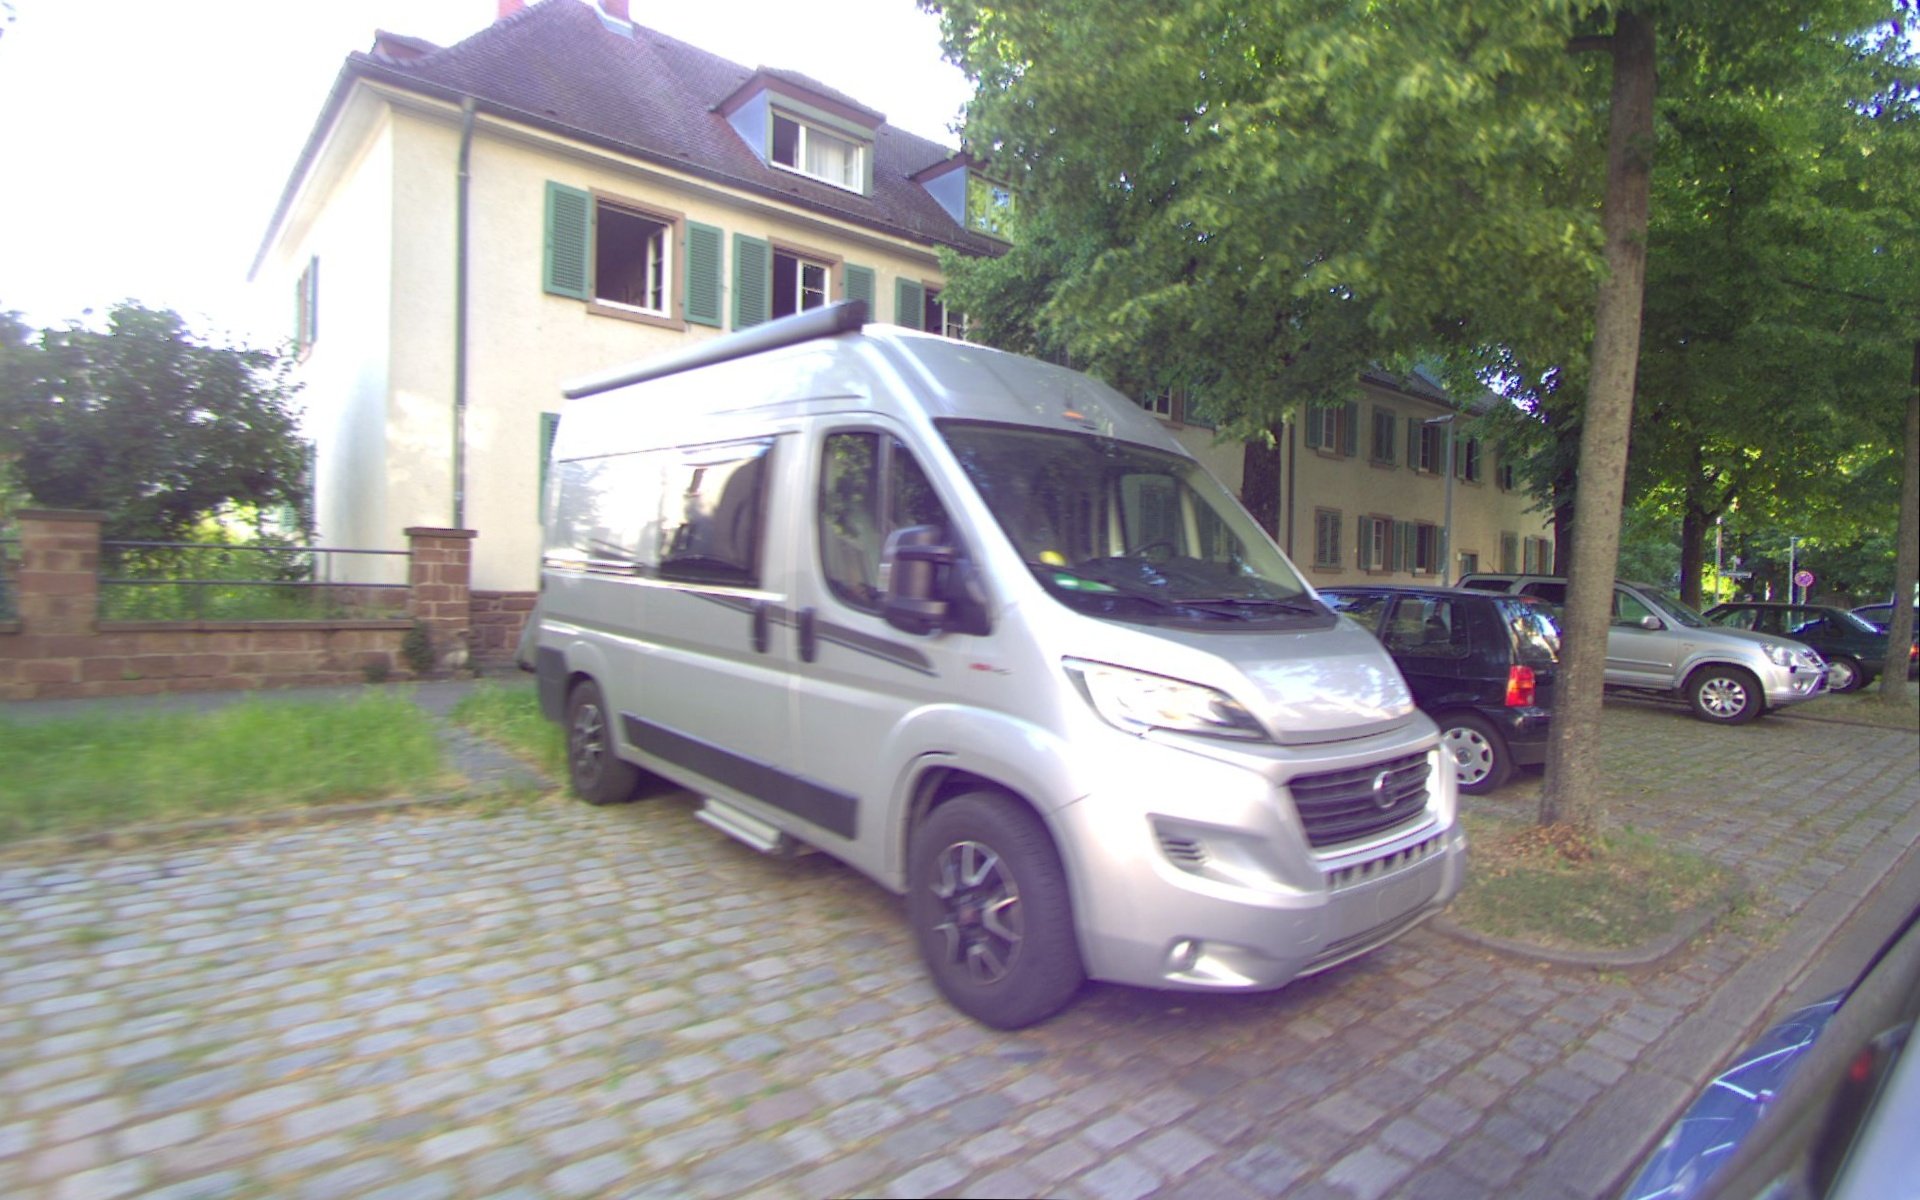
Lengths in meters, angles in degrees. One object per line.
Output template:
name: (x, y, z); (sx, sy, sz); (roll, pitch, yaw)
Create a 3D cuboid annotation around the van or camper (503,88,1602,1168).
van or camper: (-0.355, -0.139, 5.257); (2.124, 2.546, 5.734); (1, 4, -40)

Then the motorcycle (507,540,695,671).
motorcycle: (-4.186, 0.049, 11.901); (1.981, 1.424, 0.660); (-1, 0, -41)

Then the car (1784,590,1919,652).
car: (25.453, 0.580, 27.939); (1.547, 1.531, 3.991); (1, 2, -44)

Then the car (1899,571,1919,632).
car: (44.773, 0.160, 44.018); (2.096, 2.695, 5.448); (1, 2, -40)

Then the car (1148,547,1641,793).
car: (3.452, 0.400, 8.455); (1.792, 1.480, 3.262); (1, 4, -39)

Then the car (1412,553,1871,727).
car: (8.710, 0.361, 13.292); (1.966, 1.736, 4.603); (0, 3, -42)

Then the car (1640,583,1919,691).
car: (14.411, 0.566, 17.586); (1.528, 1.571, 3.996); (1, 2, -40)
